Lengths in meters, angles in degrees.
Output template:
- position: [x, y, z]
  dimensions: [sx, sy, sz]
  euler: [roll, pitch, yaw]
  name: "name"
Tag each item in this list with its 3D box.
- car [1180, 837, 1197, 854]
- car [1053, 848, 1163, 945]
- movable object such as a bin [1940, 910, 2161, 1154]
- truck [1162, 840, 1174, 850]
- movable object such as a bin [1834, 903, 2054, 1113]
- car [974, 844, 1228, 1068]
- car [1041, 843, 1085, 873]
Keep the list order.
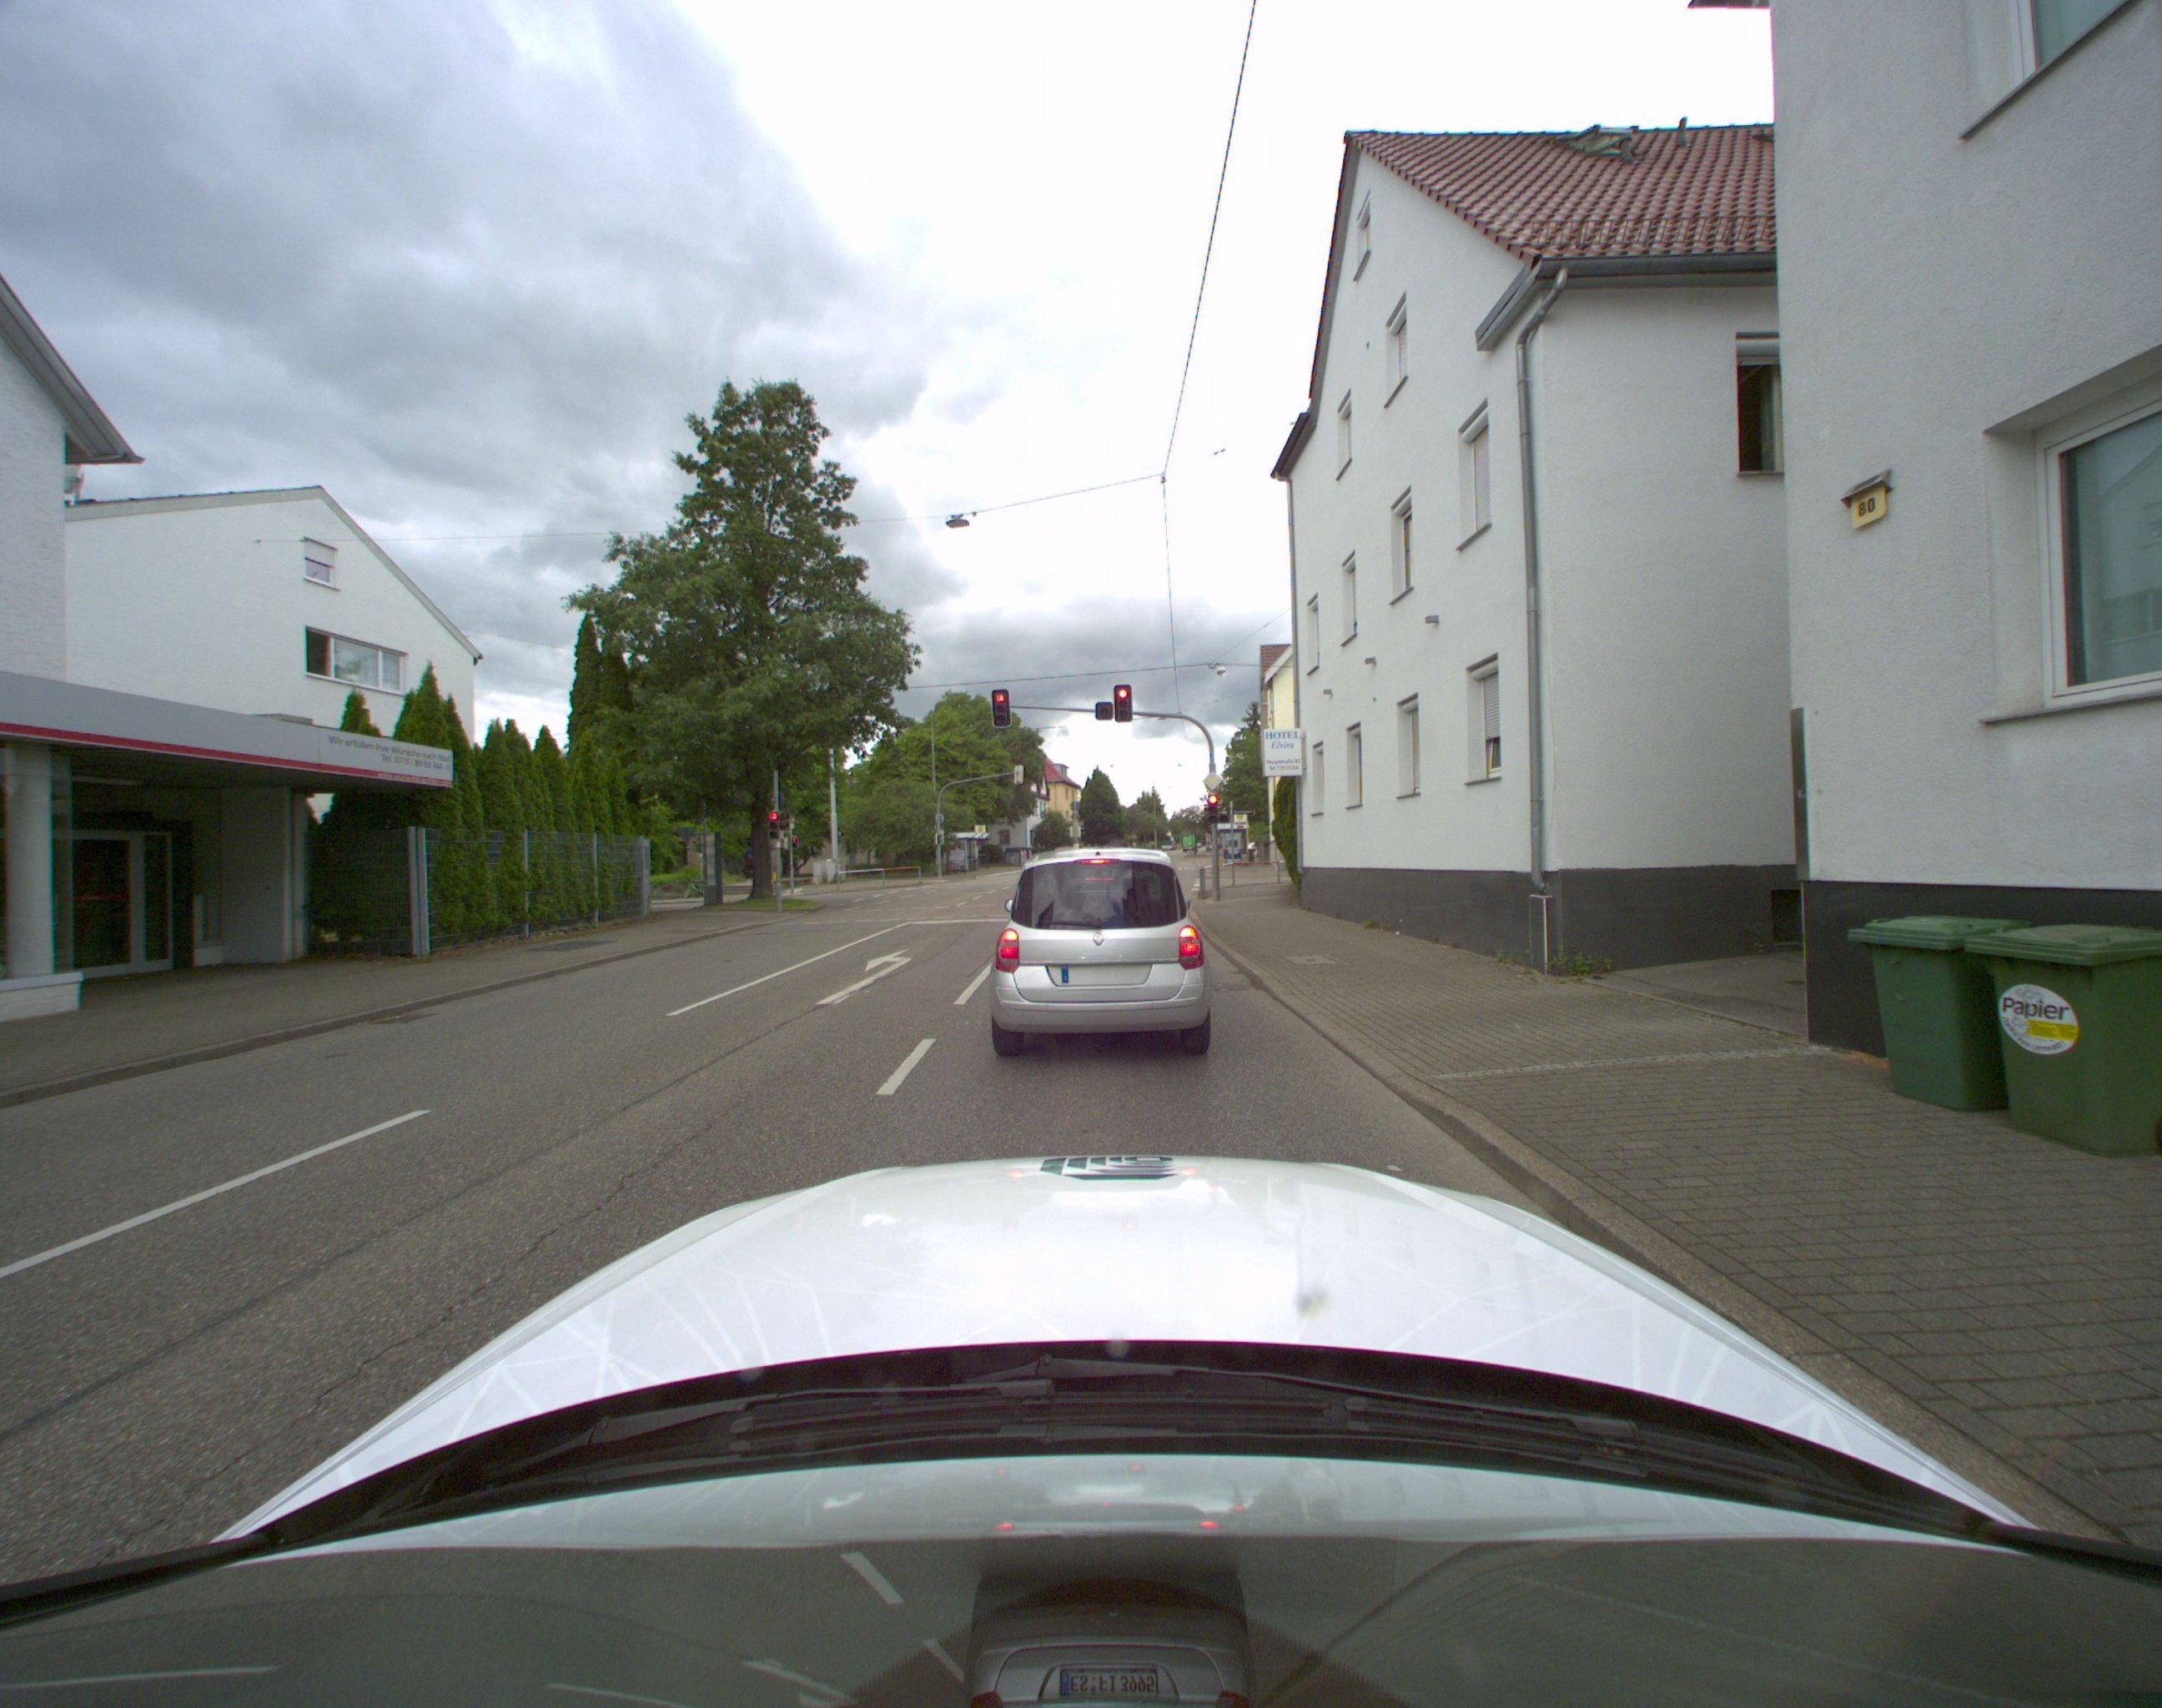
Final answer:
- position: [16.469, -1.297, 124.504]
  dimensions: [2.044, 2.512, 5.616]
  euler: [-1, 0, 14]
  name: "car"
- position: [0.490, 0.686, 15.021]
  dimensions: [1.748, 1.530, 3.798]
  euler: [-1, 0, 1]
  name: "car"
- position: [4.368, 0.751, 3.610]
  dimensions: [0.538, 0.941, 0.487]
  euler: [-4, 0, 2]
  name: "movable object such as a bin"
- position: [17.931, -1.836, 167.638]
  dimensions: [2.088, 2.013, 5.766]
  euler: [-1, 0, 11]
  name: "truck"
- position: [4.360, 0.752, 4.146]
  dimensions: [0.538, 0.941, 0.487]
  euler: [-4, 0, 2]
  name: "movable object such as a bin"
- position: [0.189, 0.712, 7.656]
  dimensions: [1.748, 1.530, 4.001]
  euler: [-1, 0, 1]
  name: "car"
- position: [-1.188, 0.229, 55.661]
  dimensions: [1.913, 1.773, 4.013]
  euler: [-6, -1, 12]
  name: "car"
